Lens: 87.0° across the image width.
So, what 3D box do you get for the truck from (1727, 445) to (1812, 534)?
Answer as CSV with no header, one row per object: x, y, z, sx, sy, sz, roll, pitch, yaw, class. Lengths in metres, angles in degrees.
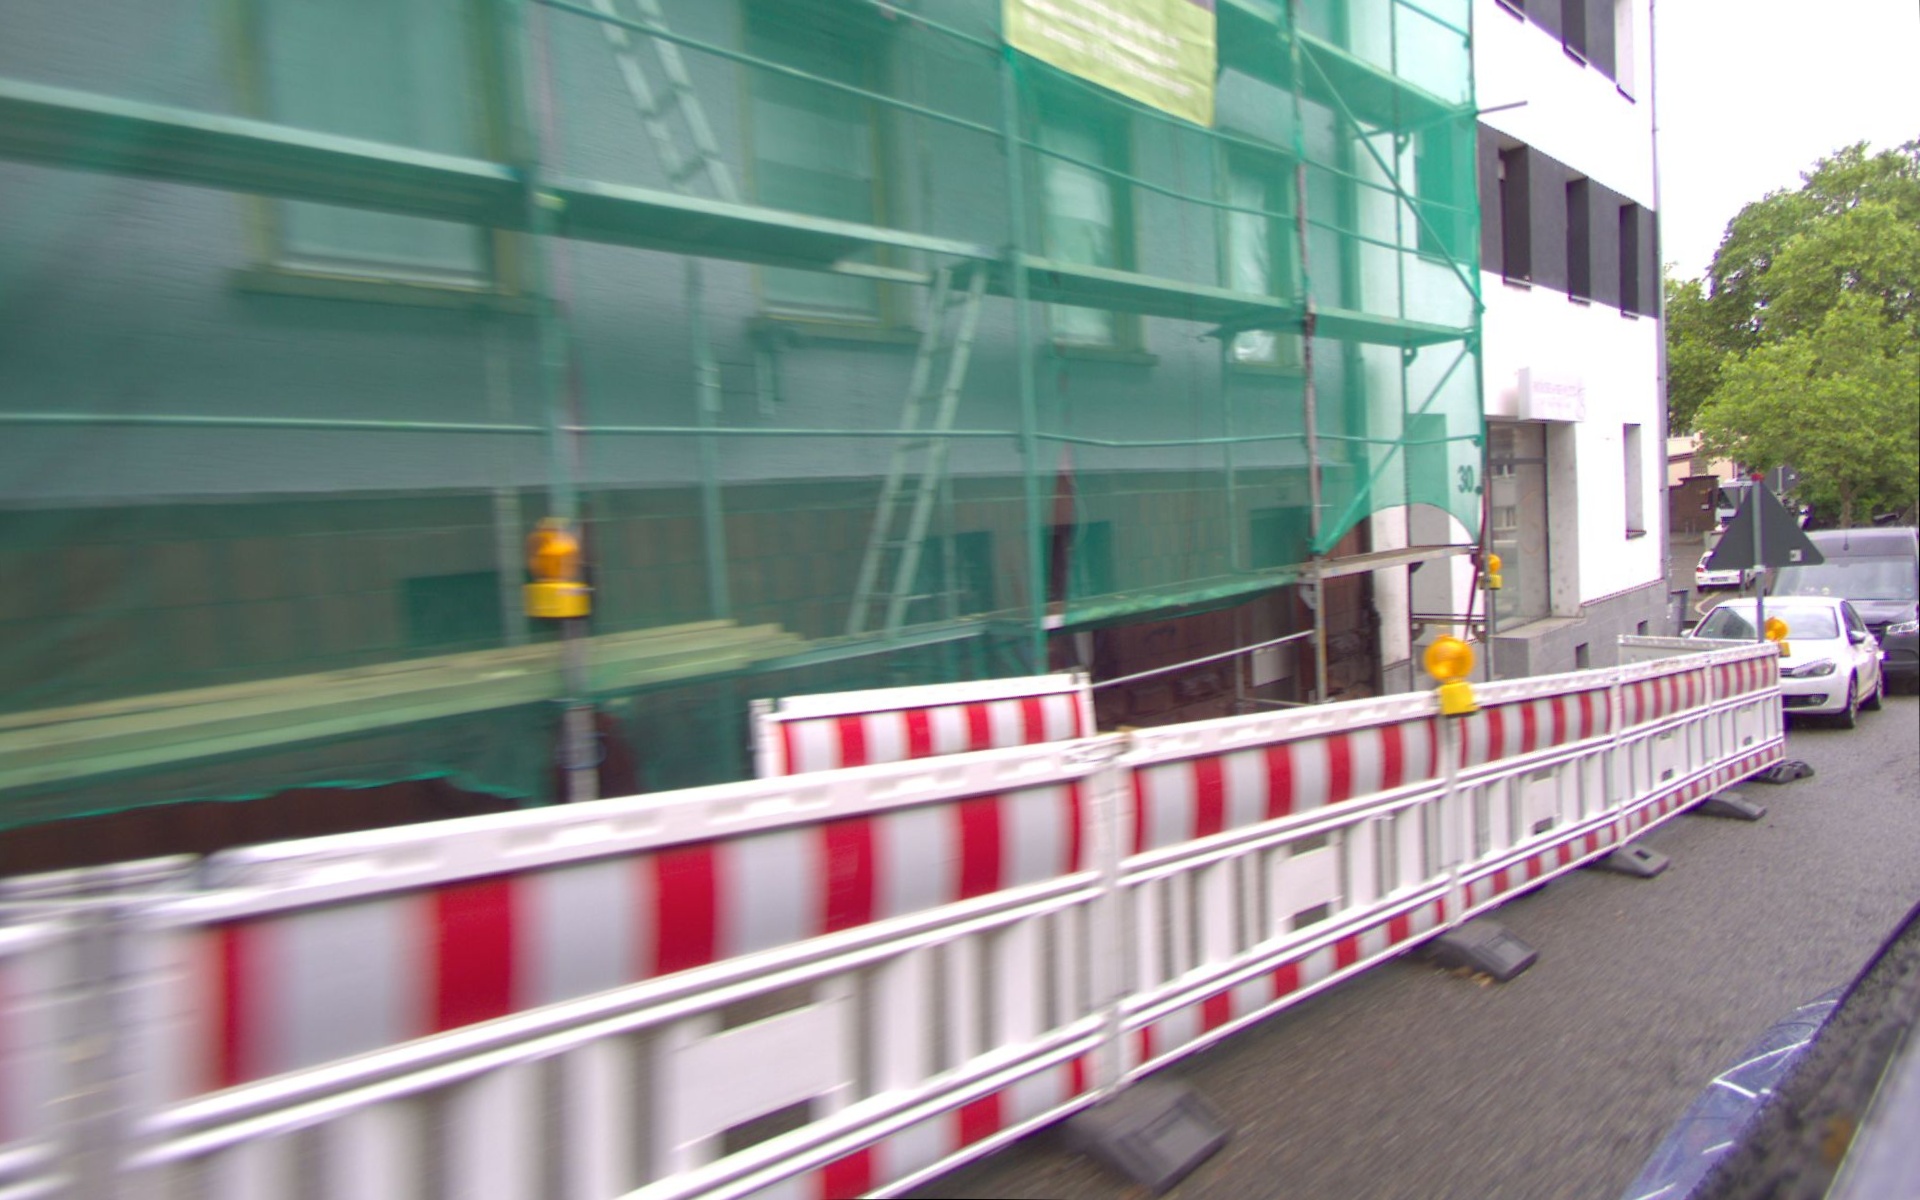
42.345,-5.908,52.794,2.746,3.342,11.086,3,12,42,truck

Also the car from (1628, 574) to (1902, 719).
10.356,0.474,12.913,4.262,1.531,1.996,-1,0,-41,car

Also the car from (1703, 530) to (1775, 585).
30.322,-1.686,39.341,4.285,1.509,1.631,-13,8,-44,car

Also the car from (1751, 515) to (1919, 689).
15.062,-0.090,16.784,5.737,2.443,1.996,-3,1,-41,car
